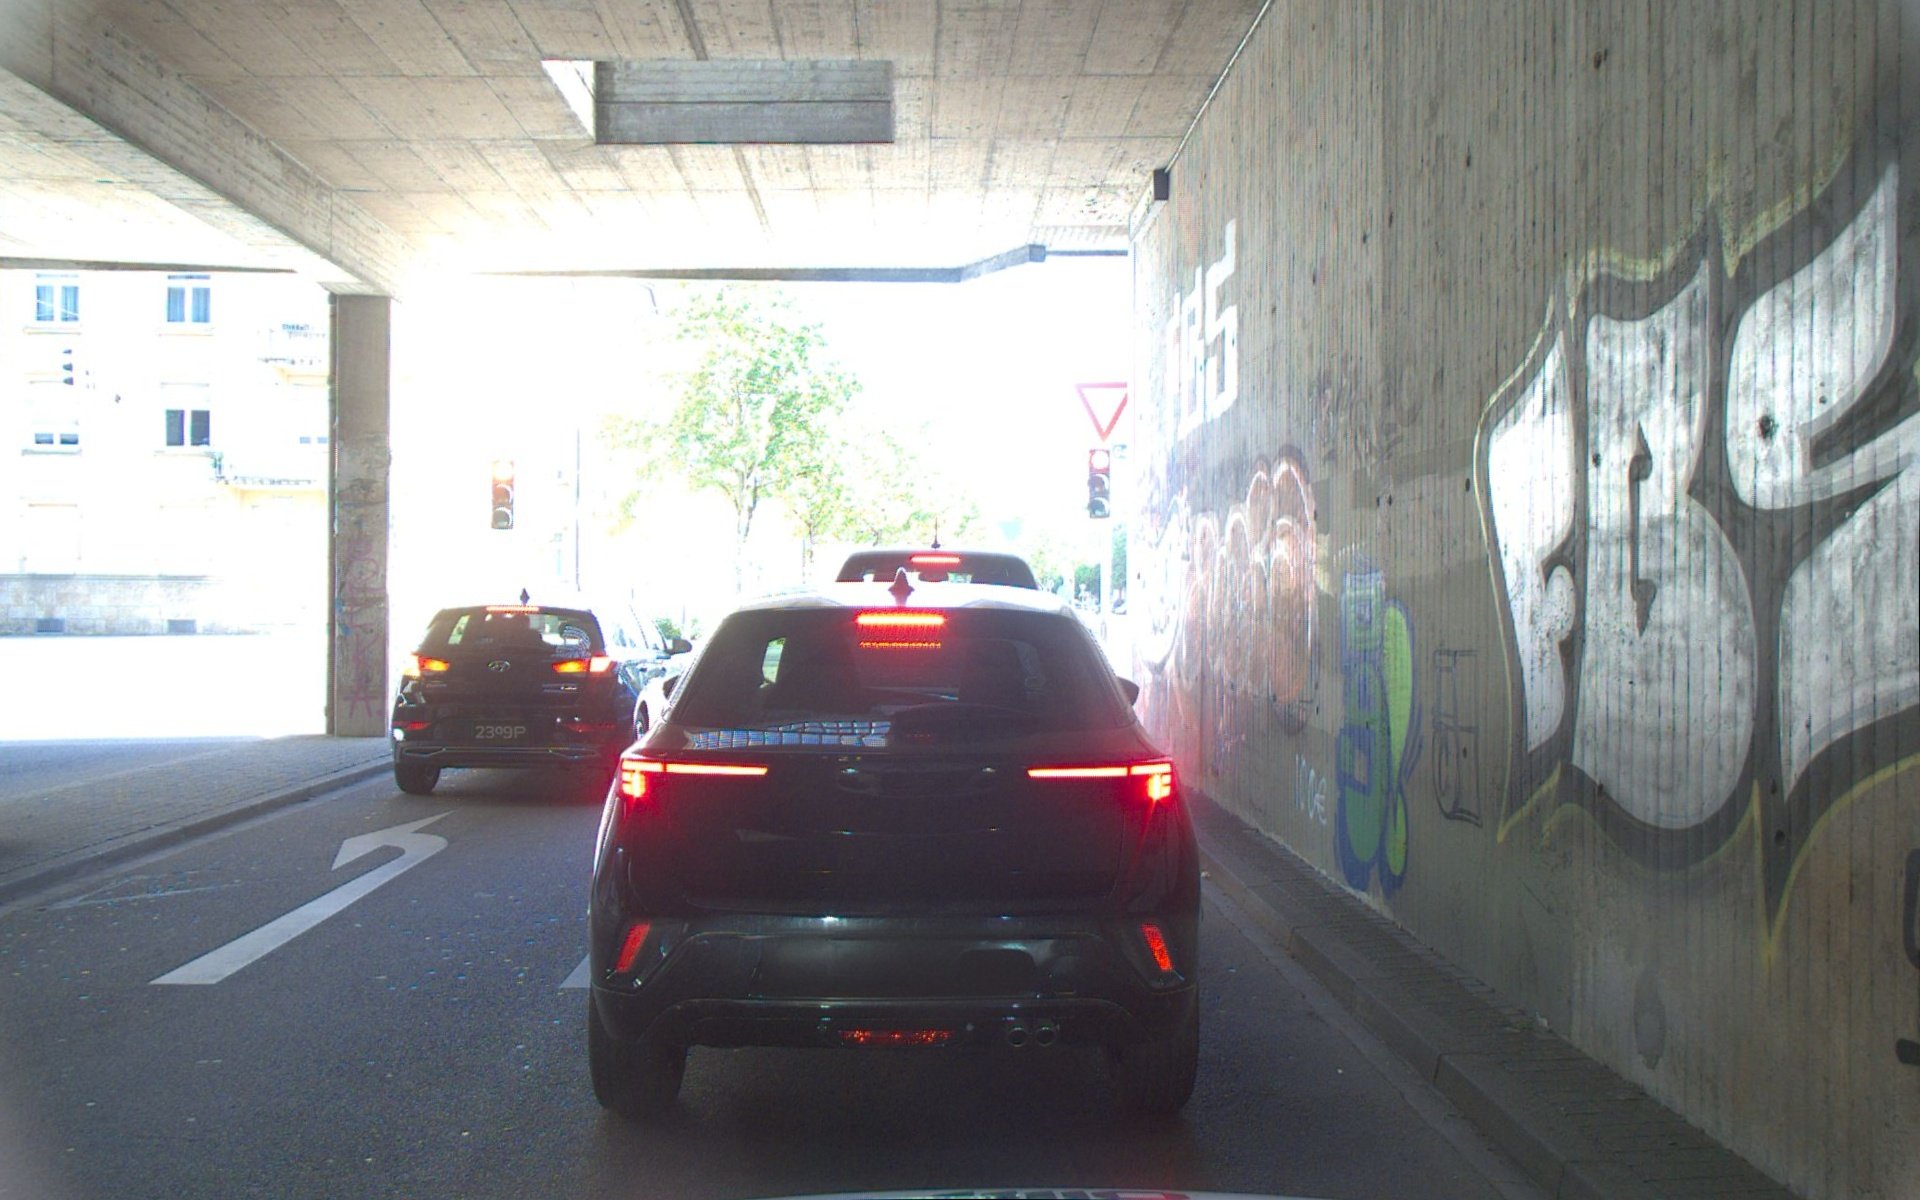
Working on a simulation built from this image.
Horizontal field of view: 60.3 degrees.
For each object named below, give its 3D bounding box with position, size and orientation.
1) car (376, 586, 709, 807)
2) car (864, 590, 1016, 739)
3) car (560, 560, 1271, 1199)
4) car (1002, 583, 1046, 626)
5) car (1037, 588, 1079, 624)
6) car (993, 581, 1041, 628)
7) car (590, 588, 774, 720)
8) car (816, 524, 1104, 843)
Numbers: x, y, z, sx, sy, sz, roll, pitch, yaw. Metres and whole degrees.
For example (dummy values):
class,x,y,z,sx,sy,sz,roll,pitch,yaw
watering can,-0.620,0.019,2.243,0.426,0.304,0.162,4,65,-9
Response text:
class,x,y,z,sx,sy,sz,roll,pitch,yaw
car,-3.144,0.654,13.225,1.726,1.506,3.843,0,0,-1
car,-0.233,0.665,19.241,1.576,1.539,4.053,0,0,-1
car,-0.133,0.681,6.082,1.726,1.558,4.088,0,0,-1
car,2.670,0.207,68.348,1.717,1.696,3.946,1,0,3
car,4.910,0.305,82.646,1.716,1.696,3.947,1,0,8
car,2.181,0.173,62.222,1.717,1.696,3.946,1,0,3
car,-3.415,0.615,20.945,1.726,1.506,3.843,0,0,-1
car,-0.027,0.499,12.027,1.726,1.915,4.145,0,0,-1
